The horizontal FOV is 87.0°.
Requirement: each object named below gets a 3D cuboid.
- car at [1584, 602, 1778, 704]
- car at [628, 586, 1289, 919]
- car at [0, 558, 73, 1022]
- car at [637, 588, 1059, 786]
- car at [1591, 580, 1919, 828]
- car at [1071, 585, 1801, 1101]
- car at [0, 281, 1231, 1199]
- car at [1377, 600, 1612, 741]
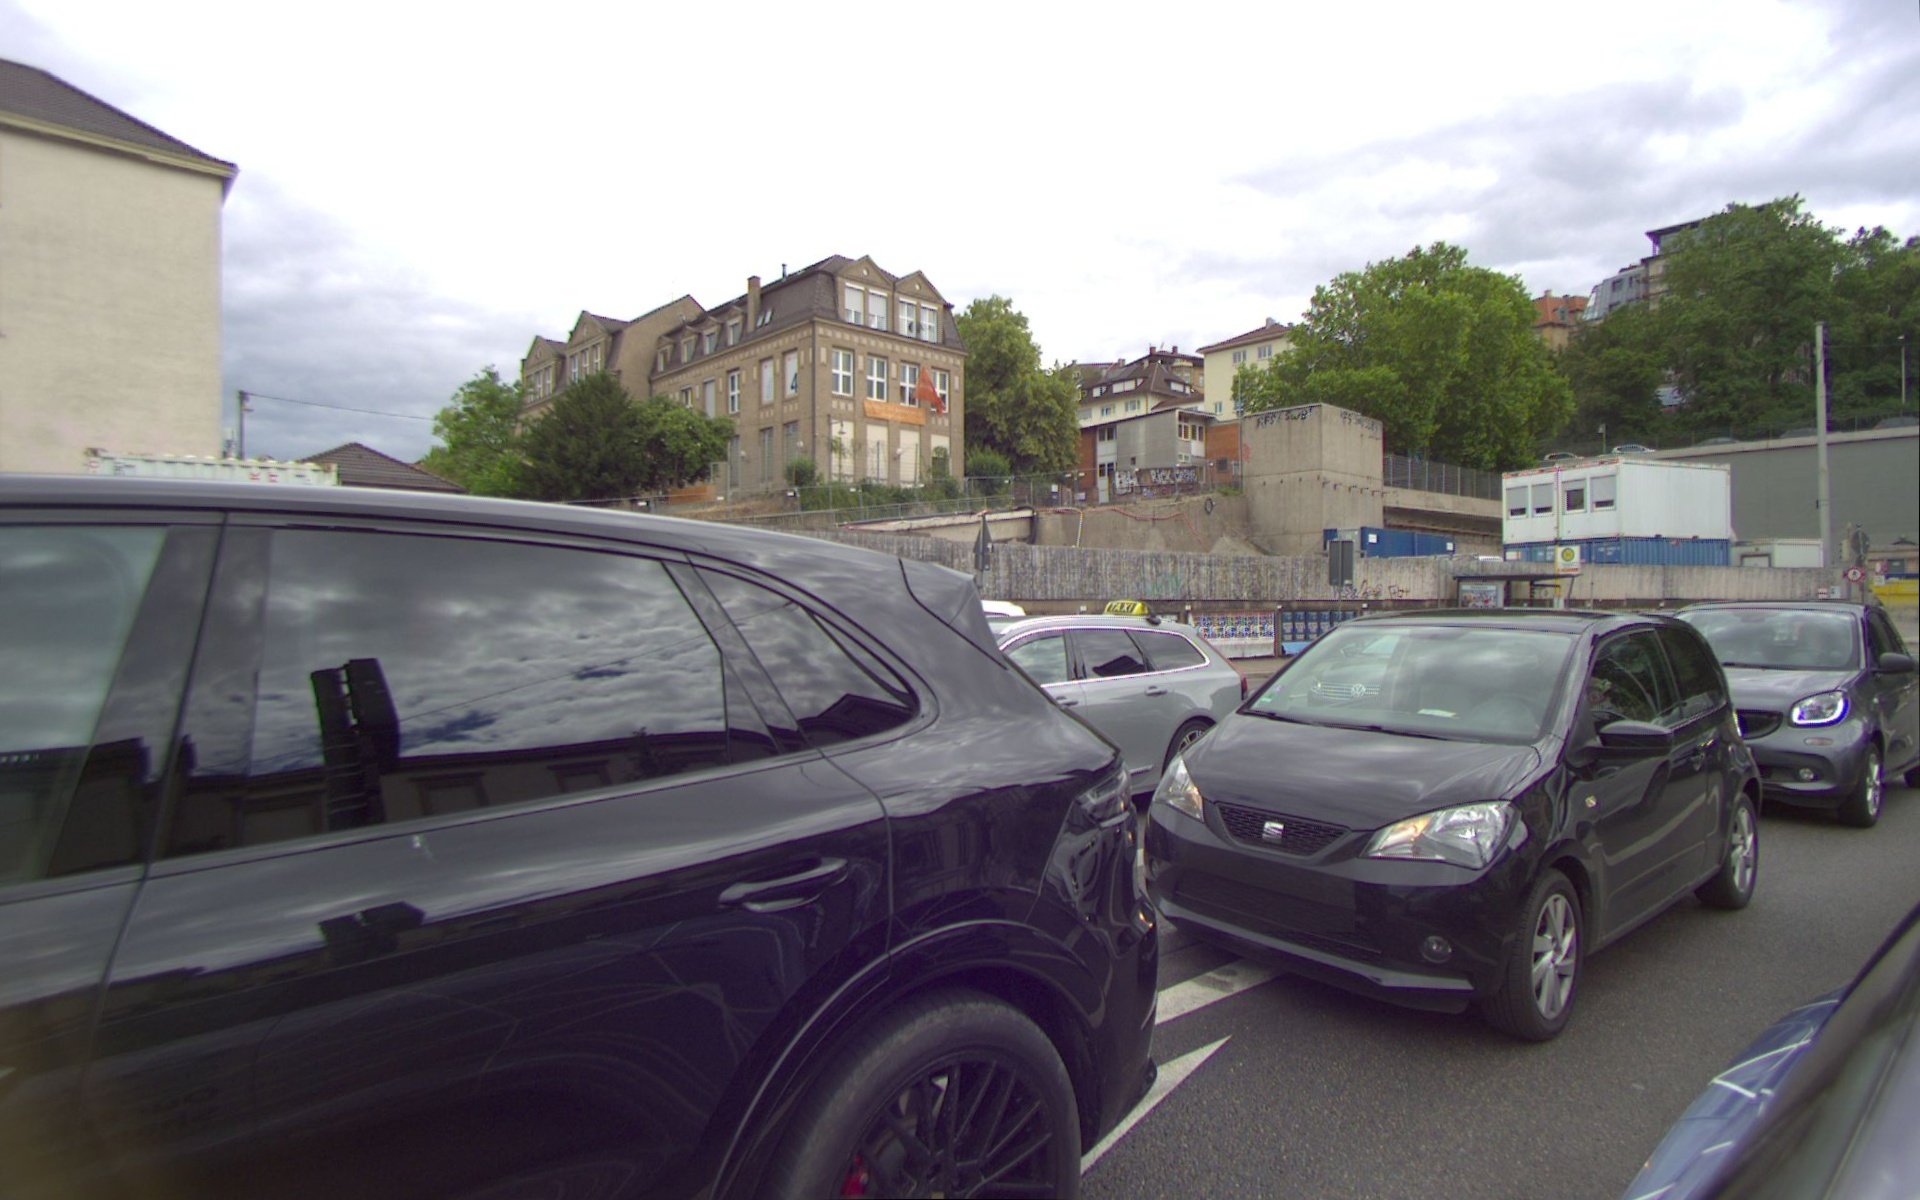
[{"bbox_3d":[11.504,0.747,16.062,3.740,1.383,1.679,-1,0,-41],"label":"car"},{"bbox_3d":[0.267,0.731,7.268,4.725,1.645,1.827,-1,0,-41],"label":"car"},{"bbox_3d":[-5.306,0.688,3.045,3.930,1.645,1.679,-1,0,-41],"label":"car"},{"bbox_3d":[-1.010,0.708,10.484,4.136,1.645,1.679,-1,0,-41],"label":"car"},{"bbox_3d":[6.705,0.660,8.192,3.511,1.563,1.720,0,0,-40],"label":"car"},{"bbox_3d":[2.434,0.678,4.797,3.636,1.476,1.827,-1,0,-41],"label":"car"},{"bbox_3d":[-1.624,0.553,1.606,4.406,1.737,1.827,-1,0,-41],"label":"car"},{"bbox_3d":[6.476,0.747,12.204,2.667,1.449,1.664,-1,0,-41],"label":"car"}]
